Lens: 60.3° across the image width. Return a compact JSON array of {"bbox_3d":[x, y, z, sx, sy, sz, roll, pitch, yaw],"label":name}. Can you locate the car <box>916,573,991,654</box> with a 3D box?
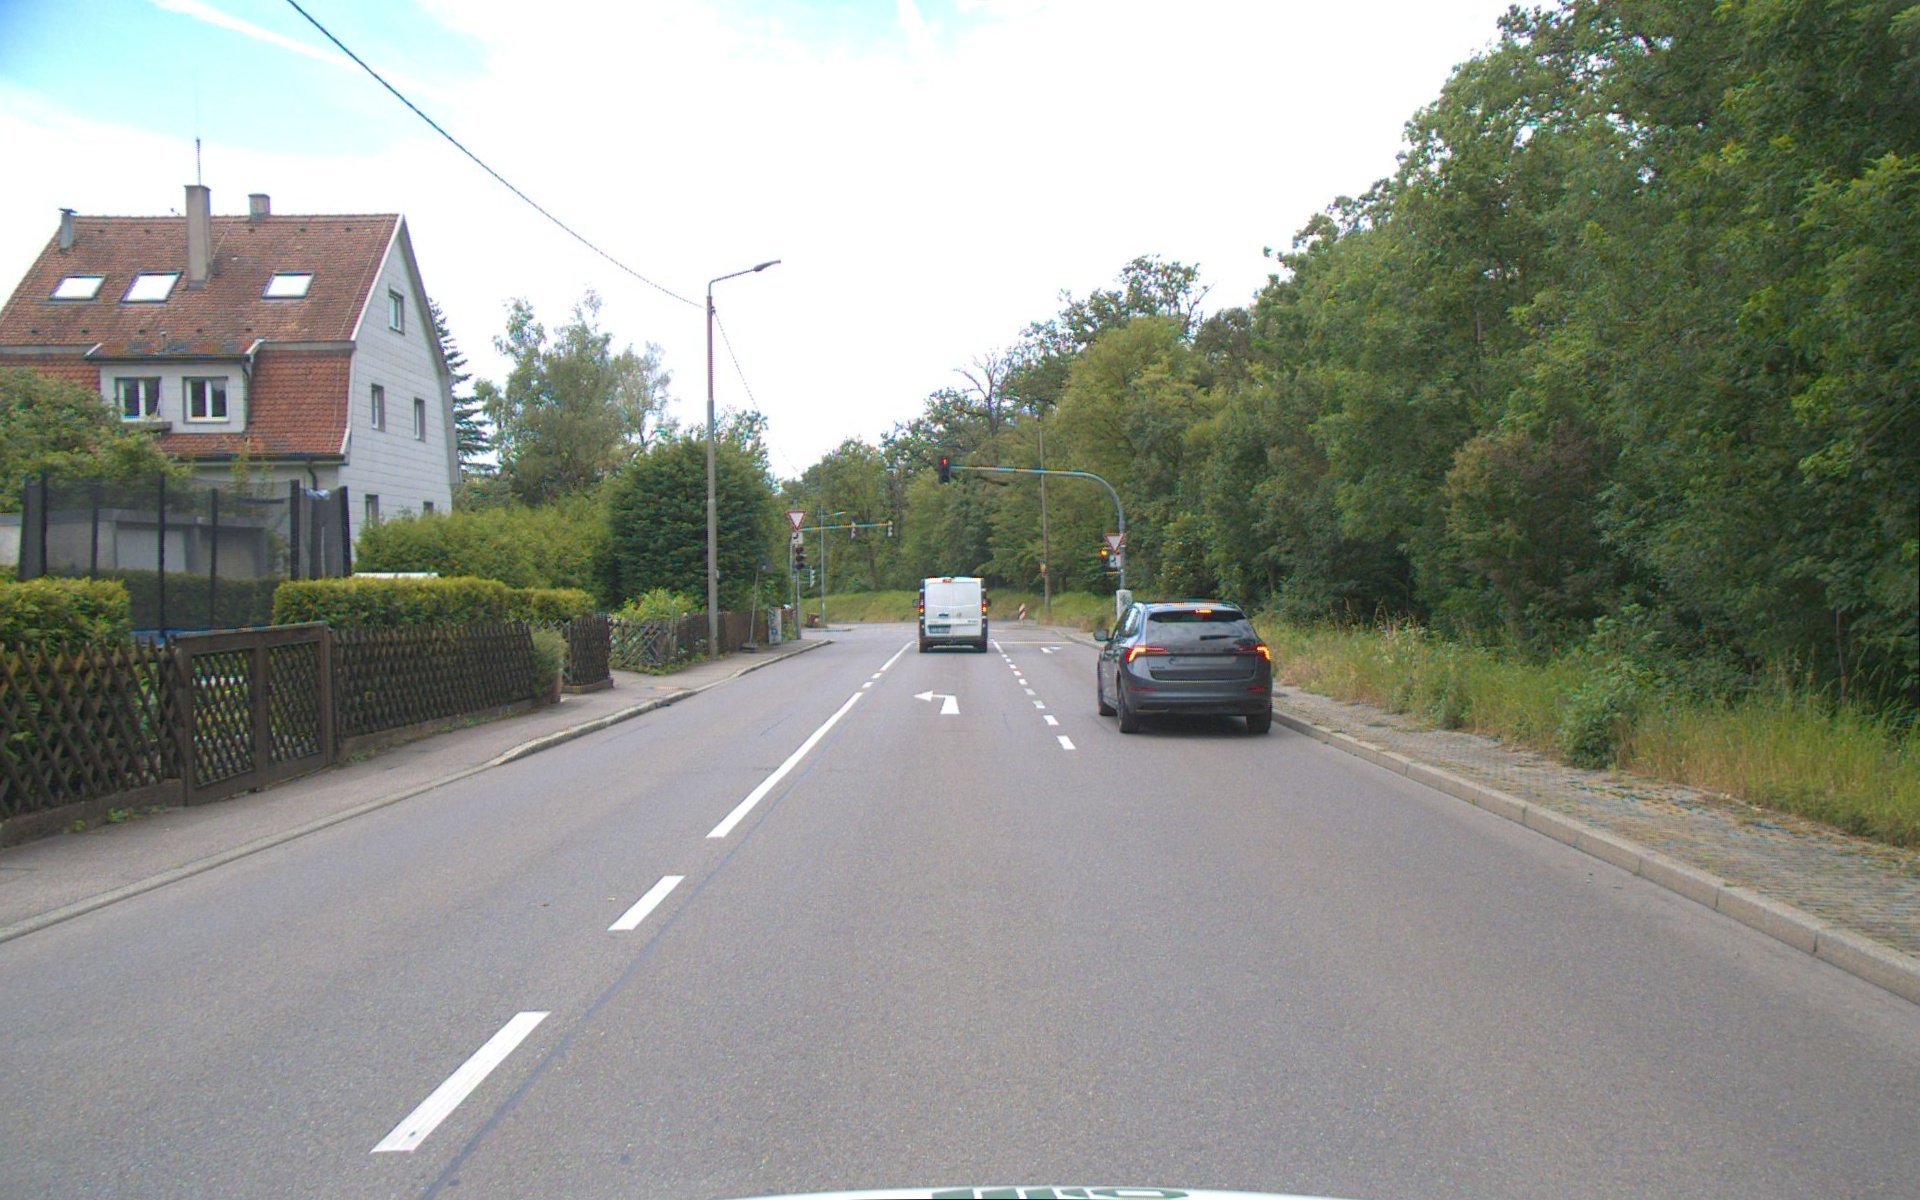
[{"bbox_3d":[-0.233,0.356,45.350,1.878,2.089,4.612,-1,0,-2],"label":"car"}]

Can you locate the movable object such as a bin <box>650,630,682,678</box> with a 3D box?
[{"bbox_3d":[-5.991,1.098,33.748,0.539,0.954,0.538,-1,0,1],"label":"movable object such as a bin"}]

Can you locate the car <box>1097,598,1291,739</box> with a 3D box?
[{"bbox_3d":[2.675,0.740,19.717,1.756,1.476,4.000,-1,0,0],"label":"car"}]

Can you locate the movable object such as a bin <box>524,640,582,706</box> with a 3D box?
[{"bbox_3d":[-5.986,1.067,24.343,0.619,0.929,0.561,2,0,12],"label":"movable object such as a bin"}]
